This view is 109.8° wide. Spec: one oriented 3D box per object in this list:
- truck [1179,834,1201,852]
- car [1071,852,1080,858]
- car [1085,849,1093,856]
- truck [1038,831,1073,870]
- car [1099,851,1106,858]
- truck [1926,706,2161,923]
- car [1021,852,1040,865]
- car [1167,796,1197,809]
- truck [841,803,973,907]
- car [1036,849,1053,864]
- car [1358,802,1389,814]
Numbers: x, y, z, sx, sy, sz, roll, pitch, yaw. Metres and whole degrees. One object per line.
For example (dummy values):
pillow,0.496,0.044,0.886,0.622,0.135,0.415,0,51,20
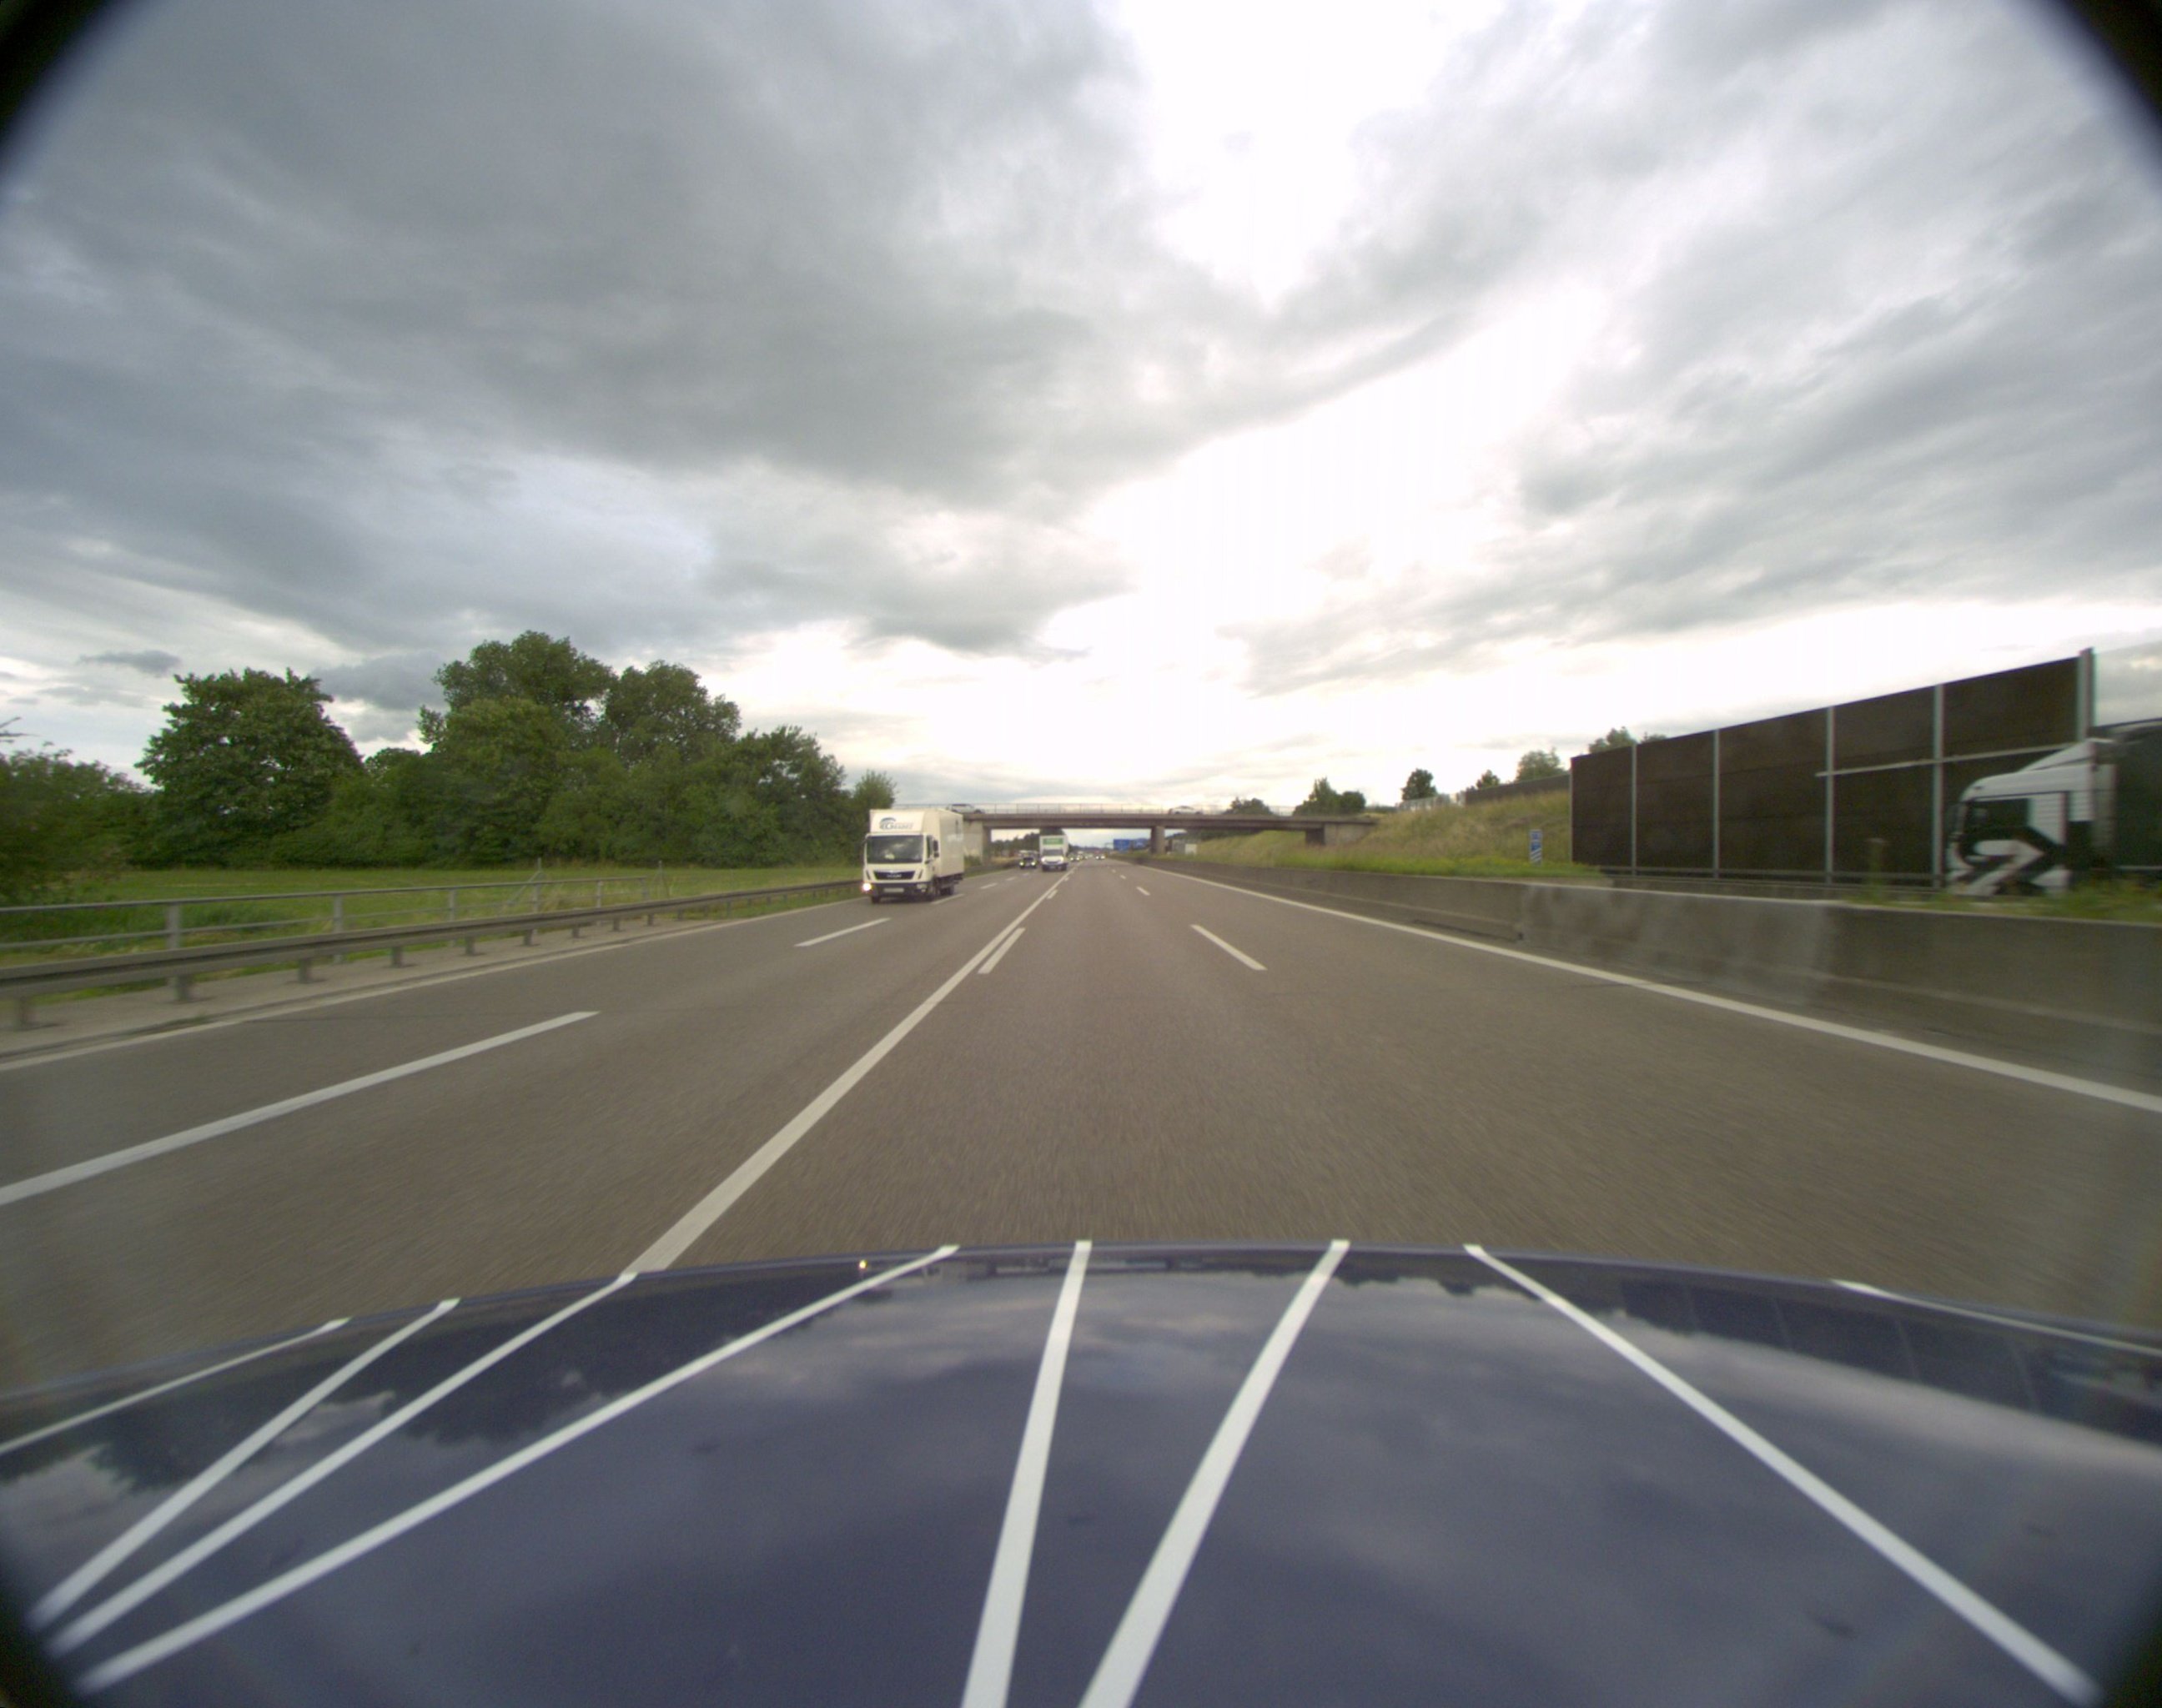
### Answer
truck,23.738,-2.447,166.333,3.005,3.662,13.007,-1,1,1
car,-1.251,0.209,164.644,1.781,1.180,4.000,-1,0,1
car,2.282,-0.462,214.727,1.998,2.002,4.000,0,0,1
truck,-2.381,-0.309,73.477,2.777,3.484,9.062,-2,0,1
car,5.845,0.187,205.153,1.998,2.002,4.000,0,0,1
truck,21.415,-0.794,14.582,3.677,3.925,6.013,-3,1,1
car,-6.012,0.500,90.955,1.922,1.541,4.923,0,0,0
car,12.706,-6.414,95.235,3.341,1.439,1.659,-2,1,-11
truck,-6.597,0.012,30.540,3.112,3.450,8.890,-3,0,0
car,-5.257,0.352,109.929,2.149,2.051,4.957,-2,0,0
car,38.556,-6.080,100.122,3.341,1.439,1.659,-2,1,-10
